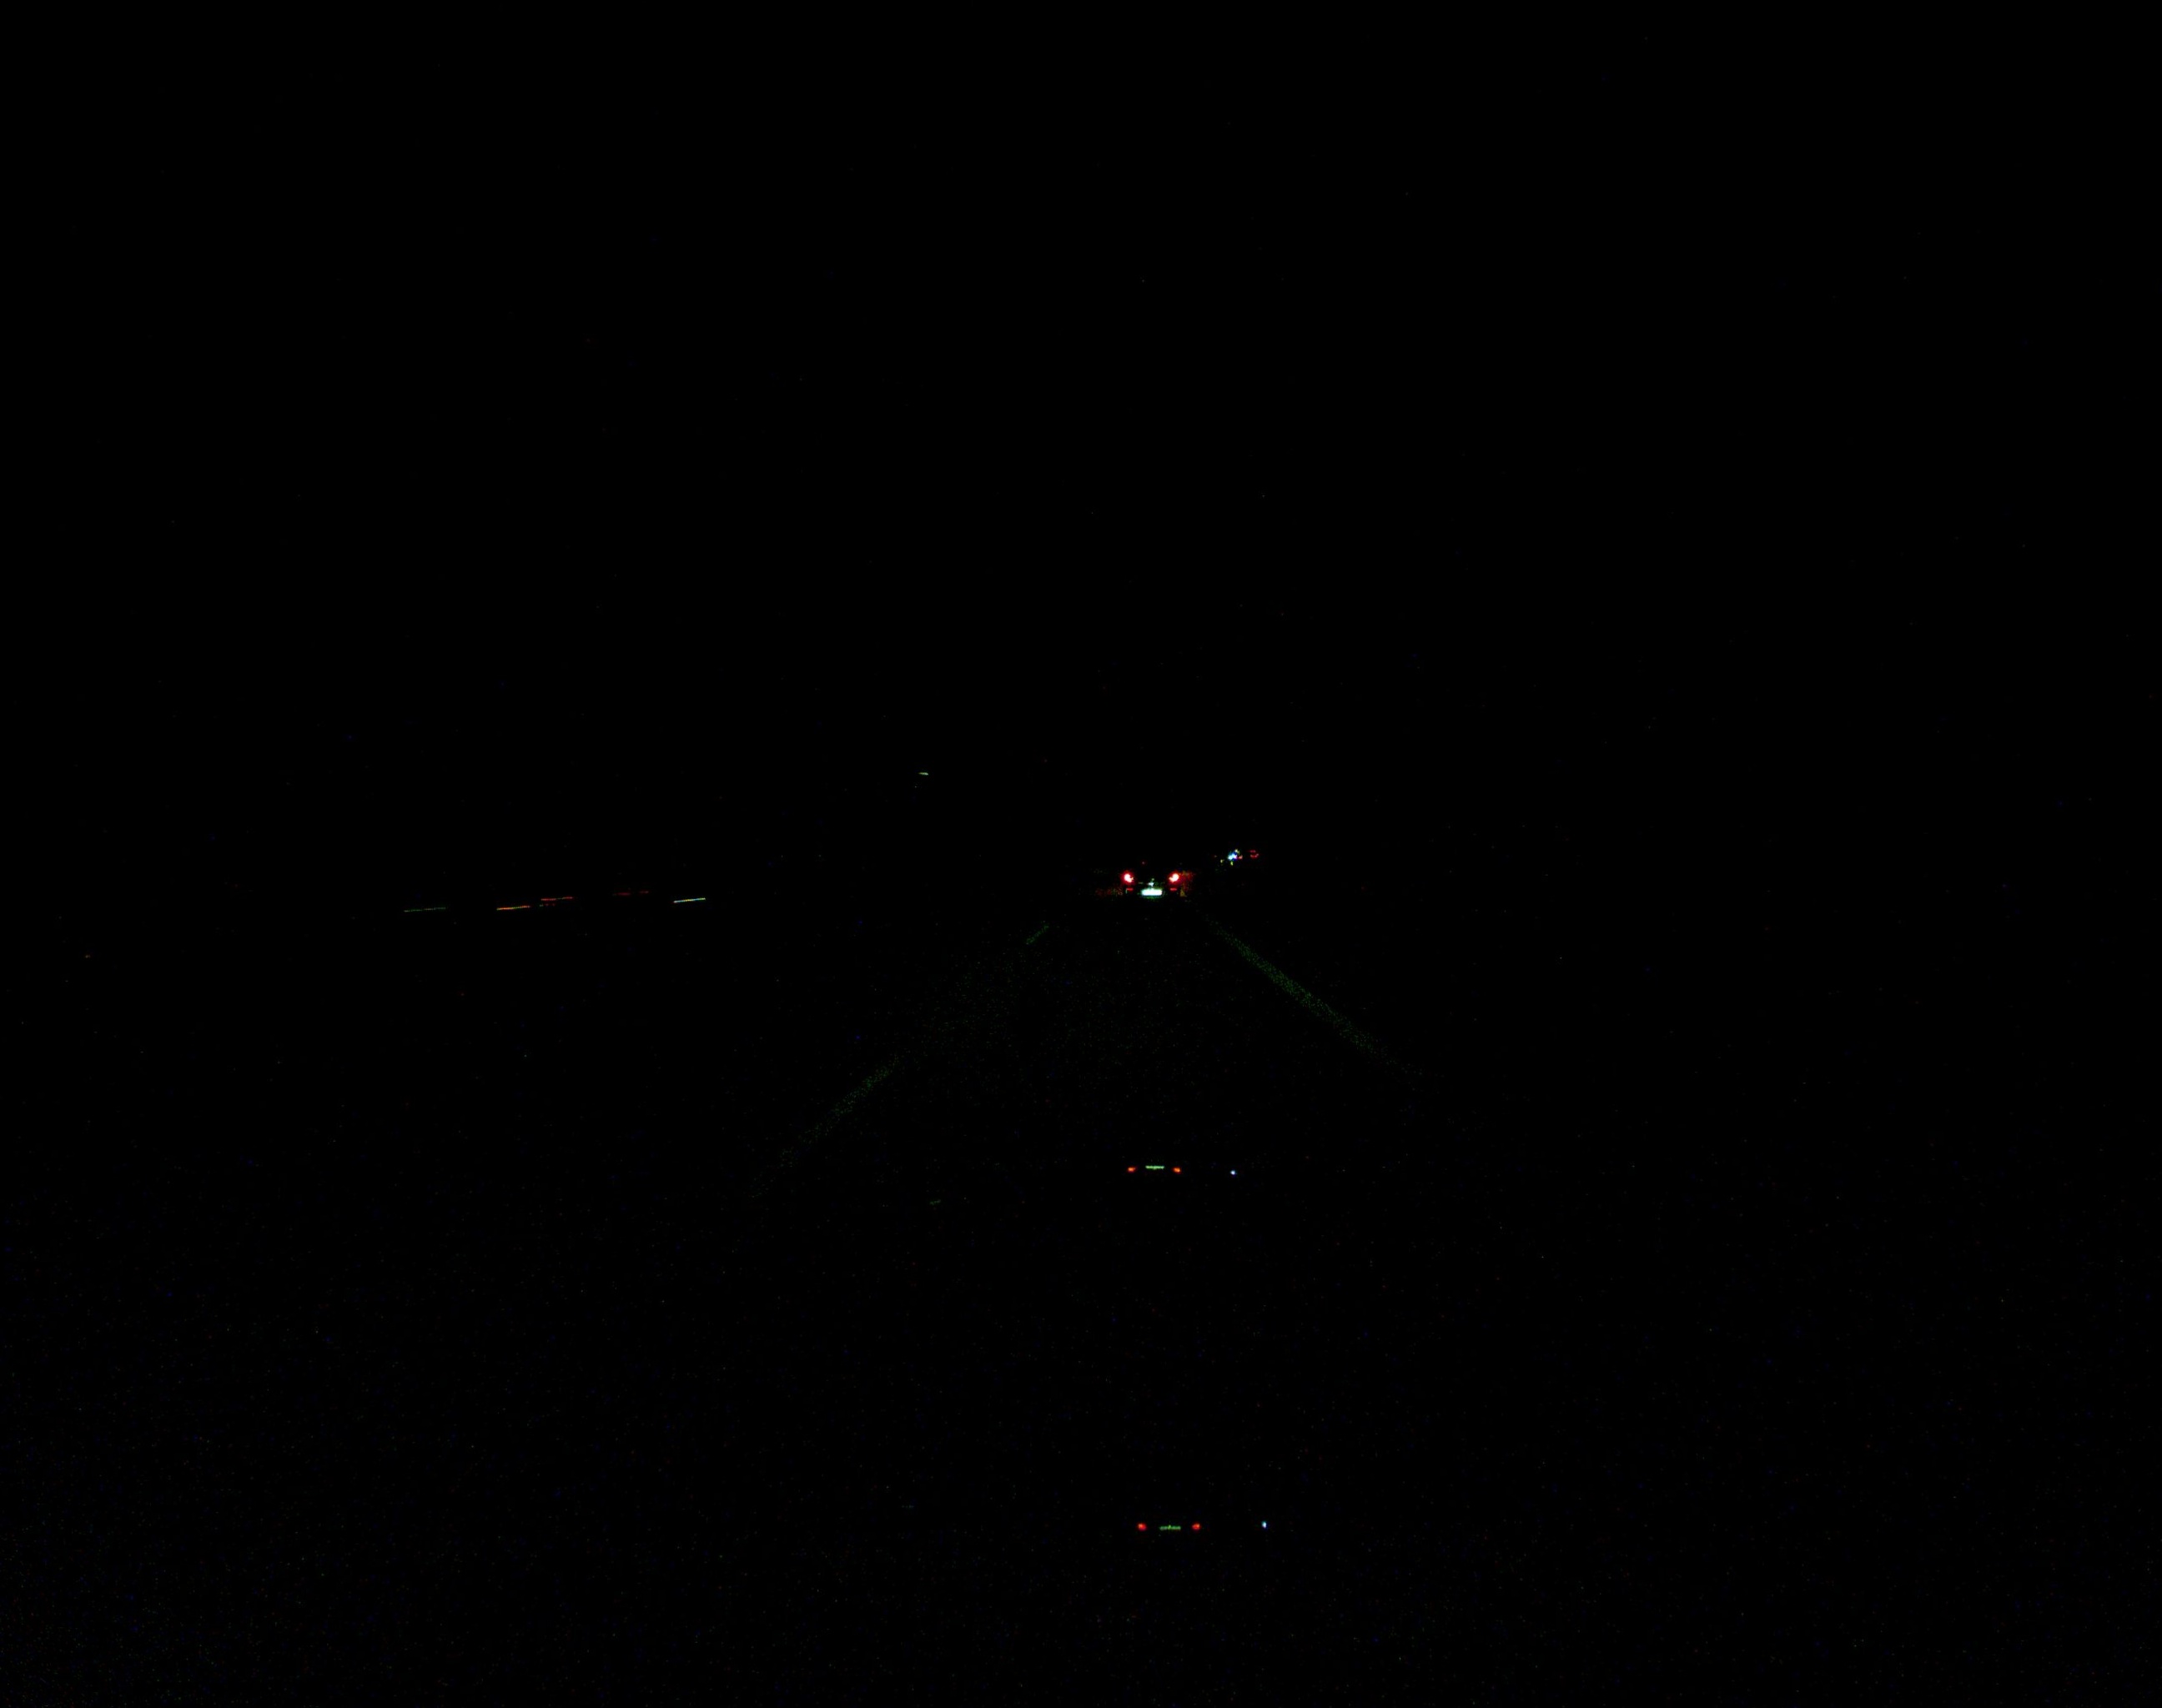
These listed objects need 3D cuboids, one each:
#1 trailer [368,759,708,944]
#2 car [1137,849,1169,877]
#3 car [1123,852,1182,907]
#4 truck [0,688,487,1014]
[{"bbox_3d":[-13.939,-0.065,22.295,2.706,3.956,9.055,-2,0,3],"label":"trailer"},{"bbox_3d":[4.593,0.557,51.882,1.897,1.698,4.006,-1,0,5],"label":"car"},{"bbox_3d":[2.108,0.692,24.273,1.581,1.508,4.005,0,0,4],"label":"car"},{"bbox_3d":[-14.581,-0.014,12.389,2.669,4.044,10.663,-2,0,3],"label":"truck"}]
